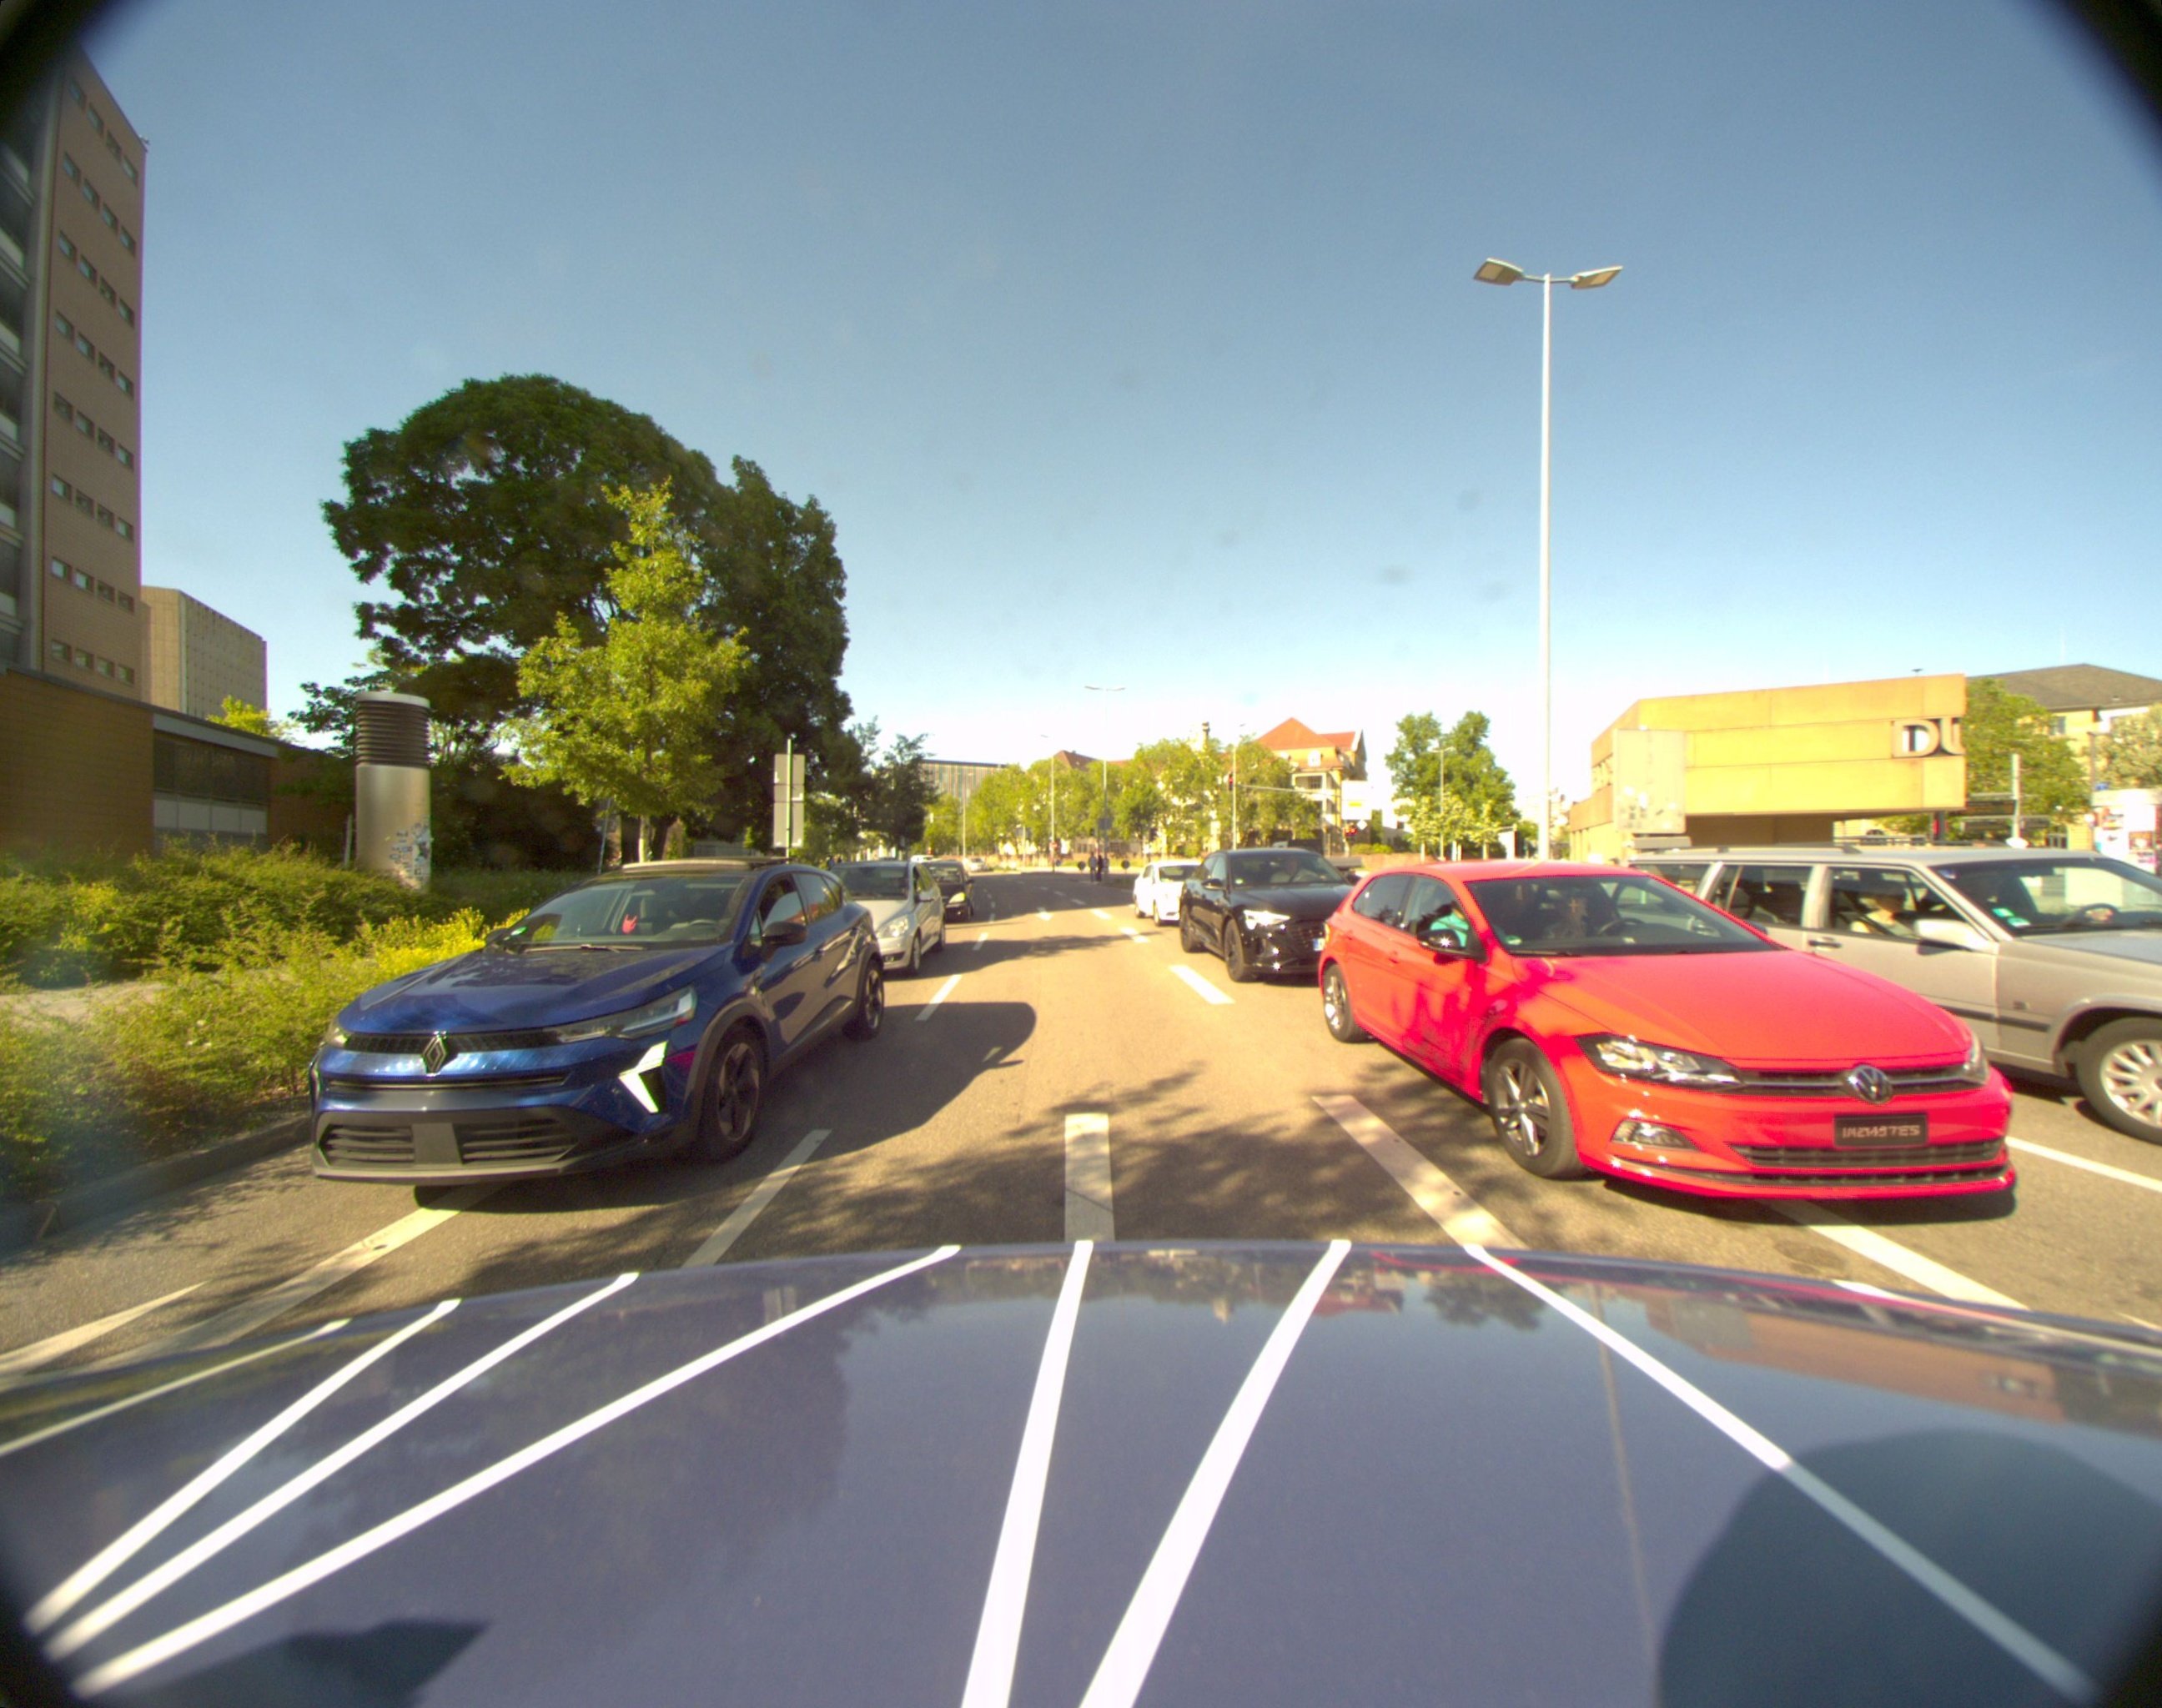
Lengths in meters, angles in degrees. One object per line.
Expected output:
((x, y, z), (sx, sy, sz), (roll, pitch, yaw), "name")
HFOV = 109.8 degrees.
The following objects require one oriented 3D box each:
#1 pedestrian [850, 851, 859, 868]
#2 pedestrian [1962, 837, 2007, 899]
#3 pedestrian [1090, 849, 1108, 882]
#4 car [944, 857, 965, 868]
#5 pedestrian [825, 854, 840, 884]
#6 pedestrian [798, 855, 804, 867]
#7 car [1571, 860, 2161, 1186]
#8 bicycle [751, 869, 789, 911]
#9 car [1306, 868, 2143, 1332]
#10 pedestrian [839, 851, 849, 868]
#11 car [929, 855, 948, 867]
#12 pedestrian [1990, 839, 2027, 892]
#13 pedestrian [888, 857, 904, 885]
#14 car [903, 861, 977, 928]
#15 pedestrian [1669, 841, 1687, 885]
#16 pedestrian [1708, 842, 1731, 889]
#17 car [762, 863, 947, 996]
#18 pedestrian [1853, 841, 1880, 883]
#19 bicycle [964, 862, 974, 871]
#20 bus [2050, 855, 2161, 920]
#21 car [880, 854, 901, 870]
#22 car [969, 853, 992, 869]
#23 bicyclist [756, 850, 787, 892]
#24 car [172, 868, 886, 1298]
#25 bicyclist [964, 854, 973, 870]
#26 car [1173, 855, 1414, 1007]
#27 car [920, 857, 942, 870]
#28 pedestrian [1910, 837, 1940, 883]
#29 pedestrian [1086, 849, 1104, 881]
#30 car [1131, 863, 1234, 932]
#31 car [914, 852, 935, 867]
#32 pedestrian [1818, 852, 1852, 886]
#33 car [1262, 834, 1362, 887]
((-25.402, 0.581, 85.228), (0.823, 1.906, 0.770), (-2, 1, -29), "pedestrian")
((26.519, 0.402, 22.316), (0.647, 1.778, 0.666), (-2, 1, -22), "pedestrian")
((1.023, 0.641, 43.248), (0.757, 1.814, 0.775), (-2, 1, -17), "pedestrian")
((-15.462, 0.969, 92.521), (1.587, 1.198, 3.991), (-2, 2, -23), "car")
((-13.438, 0.816, 41.088), (0.693, 1.594, 0.660), (0, 0, -15), "pedestrian")
((-47.539, 1.215, 129.120), (0.823, 1.906, 0.770), (-2, 1, -26), "pedestrian")
((5.743, 0.793, 5.001), (1.713, 1.464, 4.750), (-2, 0, -4), "car")
((-9.728, 1.098, 23.850), (0.692, 1.211, 1.833), (2, 0, -10), "bicycle")
((2.788, 0.877, 4.530), (1.674, 1.464, 3.853), (-2, 0, -1), "car")
((-26.540, 0.622, 85.066), (0.823, 1.906, 0.770), (-2, 1, -29), "pedestrian")
((-18.527, 0.907, 98.584), (1.598, 1.596, 3.066), (-1, 0, -26), "car")
((31.346, 0.395, 25.684), (0.644, 1.766, 0.469), (0, 1, 21), "pedestrian")
((-10.504, 0.951, 43.169), (0.694, 1.594, 0.660), (-1, 0, -31), "pedestrian")
((-3.666, 1.001, 20.222), (1.651, 1.601, 3.487), (0, 0, -6), "car")
((23.918, 0.355, 30.466), (0.467, 1.766, 0.647), (0, 1, 29), "pedestrian")
((24.521, 0.427, 29.179), (0.644, 1.766, 0.618), (0, 1, 42), "pedestrian")
((-3.181, 0.966, 11.522), (1.786, 1.615, 4.042), (0, 0, -3), "car")
((33.186, 0.337, 32.107), (0.645, 1.766, 0.468), (-1, 1, -4), "pedestrian")
((-11.445, 1.259, 77.651), (0.591, 0.884, 1.652), (-2, 0, -21), "bicycle")
((21.636, 0.650, 14.158), (1.646, 1.234, 4.181), (0, 0, -5), "bus")
((-21.765, 0.893, 86.817), (1.830, 1.842, 3.745), (0, 0, -21), "car")
((-10.978, 0.765, 82.913), (1.527, 1.669, 3.374), (-2, 0, -24), "car")
((-9.617, 0.521, 23.648), (0.723, 1.271, 0.906), (2, 0, -12), "bicyclist")
((-2.689, 0.940, 5.028), (1.705, 1.596, 4.084), (-1, 0, 0), "car")
((-11.452, 0.837, 77.634), (0.696, 1.549, 0.814), (-2, 1, -21), "bicyclist")
((2.564, 0.830, 10.398), (1.859, 1.606, 4.452), (0, 0, -3), "car")
((-16.629, 1.016, 84.198), (1.754, 1.370, 3.568), (-1, 0, -21), "car")
((32.947, 0.227, 29.662), (0.645, 1.766, 0.468), (-1, 1, -4), "pedestrian")
((0.802, 0.622, 44.493), (0.887, 1.814, 0.776), (-2, 1, -7), "pedestrian")
((2.251, 0.934, 17.784), (1.575, 1.410, 3.711), (0, 0, -6), "car")
((-21.674, 0.782, 105.406), (1.790, 2.002, 4.223), (-2, 1, -26), "car")
((30.173, 0.595, 30.413), (0.645, 1.303, 0.763), (-1, 0, 9), "pedestrian")
((11.101, 0.297, 37.103), (2.117, 2.300, 6.209), (-1, 0, -10), "car")
